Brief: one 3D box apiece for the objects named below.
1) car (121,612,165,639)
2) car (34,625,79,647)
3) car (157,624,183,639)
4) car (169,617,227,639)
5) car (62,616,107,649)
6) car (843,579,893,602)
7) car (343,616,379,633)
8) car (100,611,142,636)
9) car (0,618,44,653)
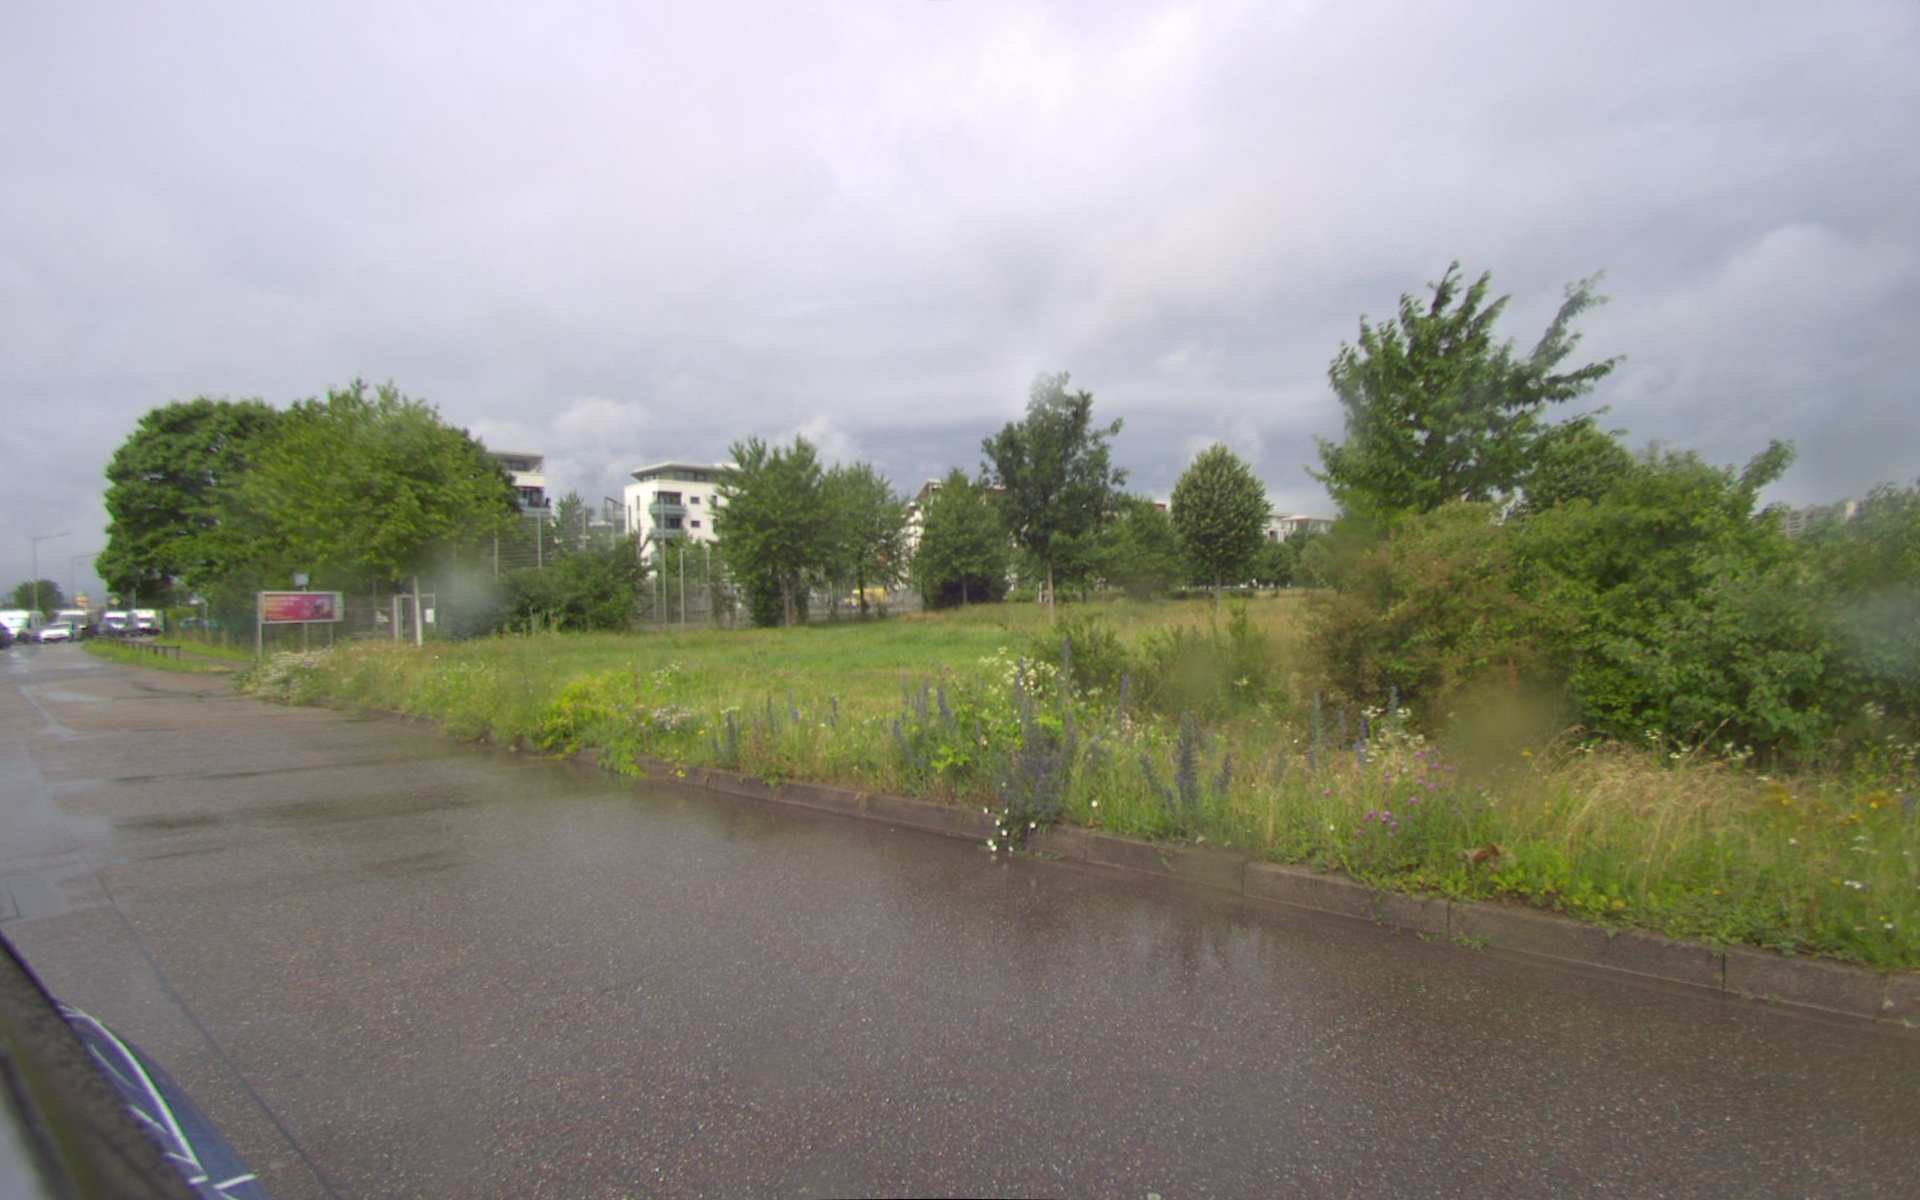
[{"bbox_3d":[-93.374,2.894,115.748,2.436,2.978,6.909,0,-1,-27],"label":"car"},{"bbox_3d":[-68.208,2.705,76.469,1.812,1.530,4.370,-1,0,-32],"label":"car"},{"bbox_3d":[-88.035,3.535,112.805,1.812,1.530,4.370,-1,0,-31],"label":"car"},{"bbox_3d":[-68.268,2.488,90.708,3.758,1.645,1.761,-5,2,-27],"label":"car"},{"bbox_3d":[-79.492,2.922,91.926,2.114,2.905,5.292,2,-2,-31],"label":"car"},{"bbox_3d":[-12.075,-1.234,132.701,6.540,2.633,1.969,-4,2,-42],"label":"car"},{"bbox_3d":[-53.533,2.176,90.428,4.129,1.406,1.665,-1,2,43],"label":"car"},{"bbox_3d":[-87.811,2.424,105.960,2.039,2.548,6.678,0,-1,-28],"label":"car"},{"bbox_3d":[-71.088,2.608,75.988,2.062,2.491,5.966,0,-1,-29],"label":"car"}]
